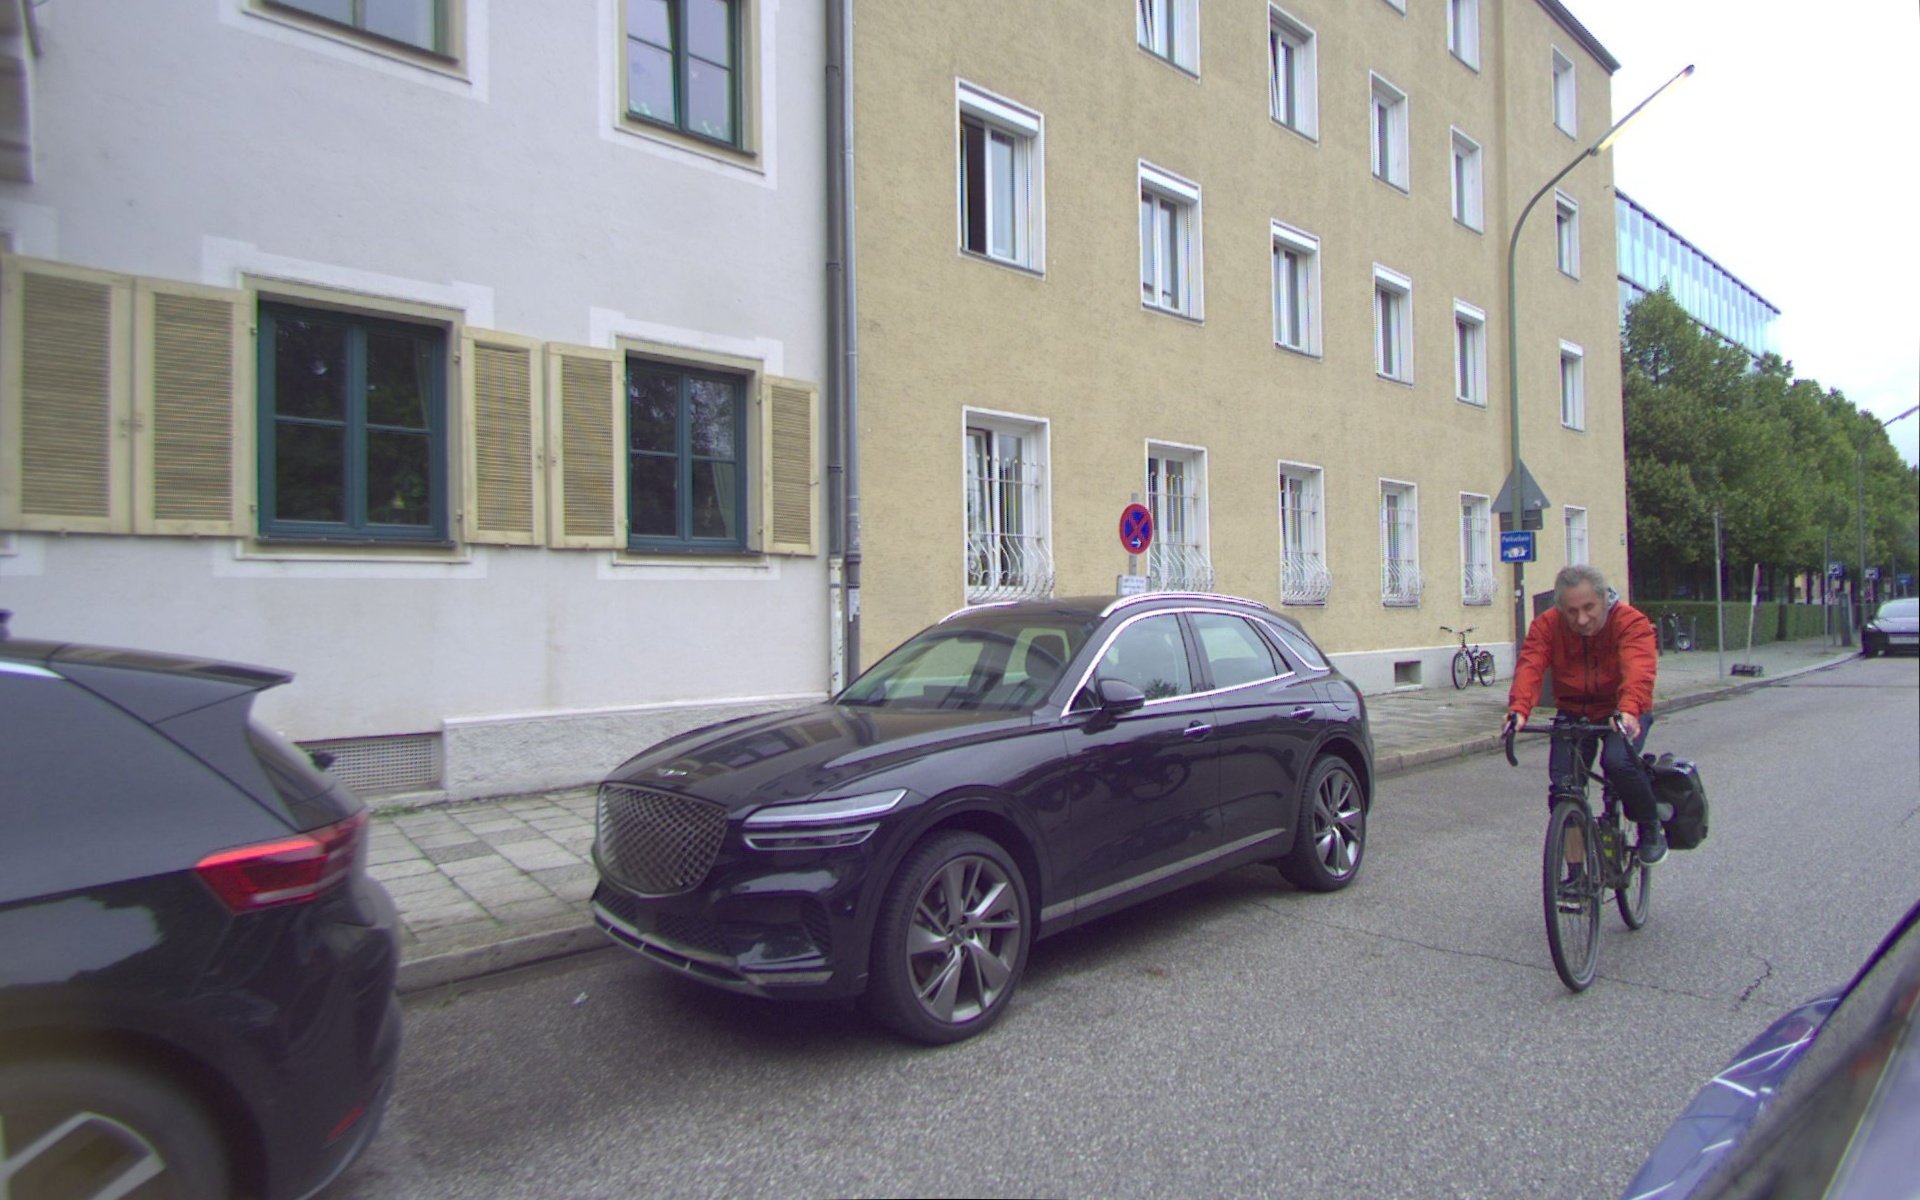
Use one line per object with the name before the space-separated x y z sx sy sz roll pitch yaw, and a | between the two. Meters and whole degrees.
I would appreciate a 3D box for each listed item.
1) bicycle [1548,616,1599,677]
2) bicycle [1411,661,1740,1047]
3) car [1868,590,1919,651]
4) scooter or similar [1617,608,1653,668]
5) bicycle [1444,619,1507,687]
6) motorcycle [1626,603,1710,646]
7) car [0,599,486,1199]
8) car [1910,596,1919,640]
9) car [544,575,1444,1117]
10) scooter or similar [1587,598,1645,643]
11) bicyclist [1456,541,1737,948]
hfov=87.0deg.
bicycle | 12.155 0.899 20.025 1.728 1.150 0.342 0 -1 -41
bicycle | 2.660 0.885 4.255 1.978 1.156 0.672 -1 -3 -45
car | 27.802 0.530 28.841 5.007 1.652 1.997 -1 -2 -39
scooter or similar | 14.978 0.816 22.443 1.286 1.271 0.342 -1 0 -41
bicycle | 9.081 0.913 17.794 1.782 1.095 0.342 -1 1 -41
motorcycle | 20.711 0.703 29.632 0.695 1.147 1.898 0 1 -39
car | -3.344 0.790 1.689 4.335 1.551 1.843 0 0 -39
car | 34.689 0.542 35.210 4.873 1.479 1.995 0 -3 -43
car | 0.589 0.718 5.319 4.816 1.597 1.862 0 0 -43
scooter or similar | 19.965 0.601 30.803 0.659 1.318 1.349 -3 2 -44
bicyclist | 2.749 0.542 4.360 0.965 1.502 0.754 0 -3 -44
